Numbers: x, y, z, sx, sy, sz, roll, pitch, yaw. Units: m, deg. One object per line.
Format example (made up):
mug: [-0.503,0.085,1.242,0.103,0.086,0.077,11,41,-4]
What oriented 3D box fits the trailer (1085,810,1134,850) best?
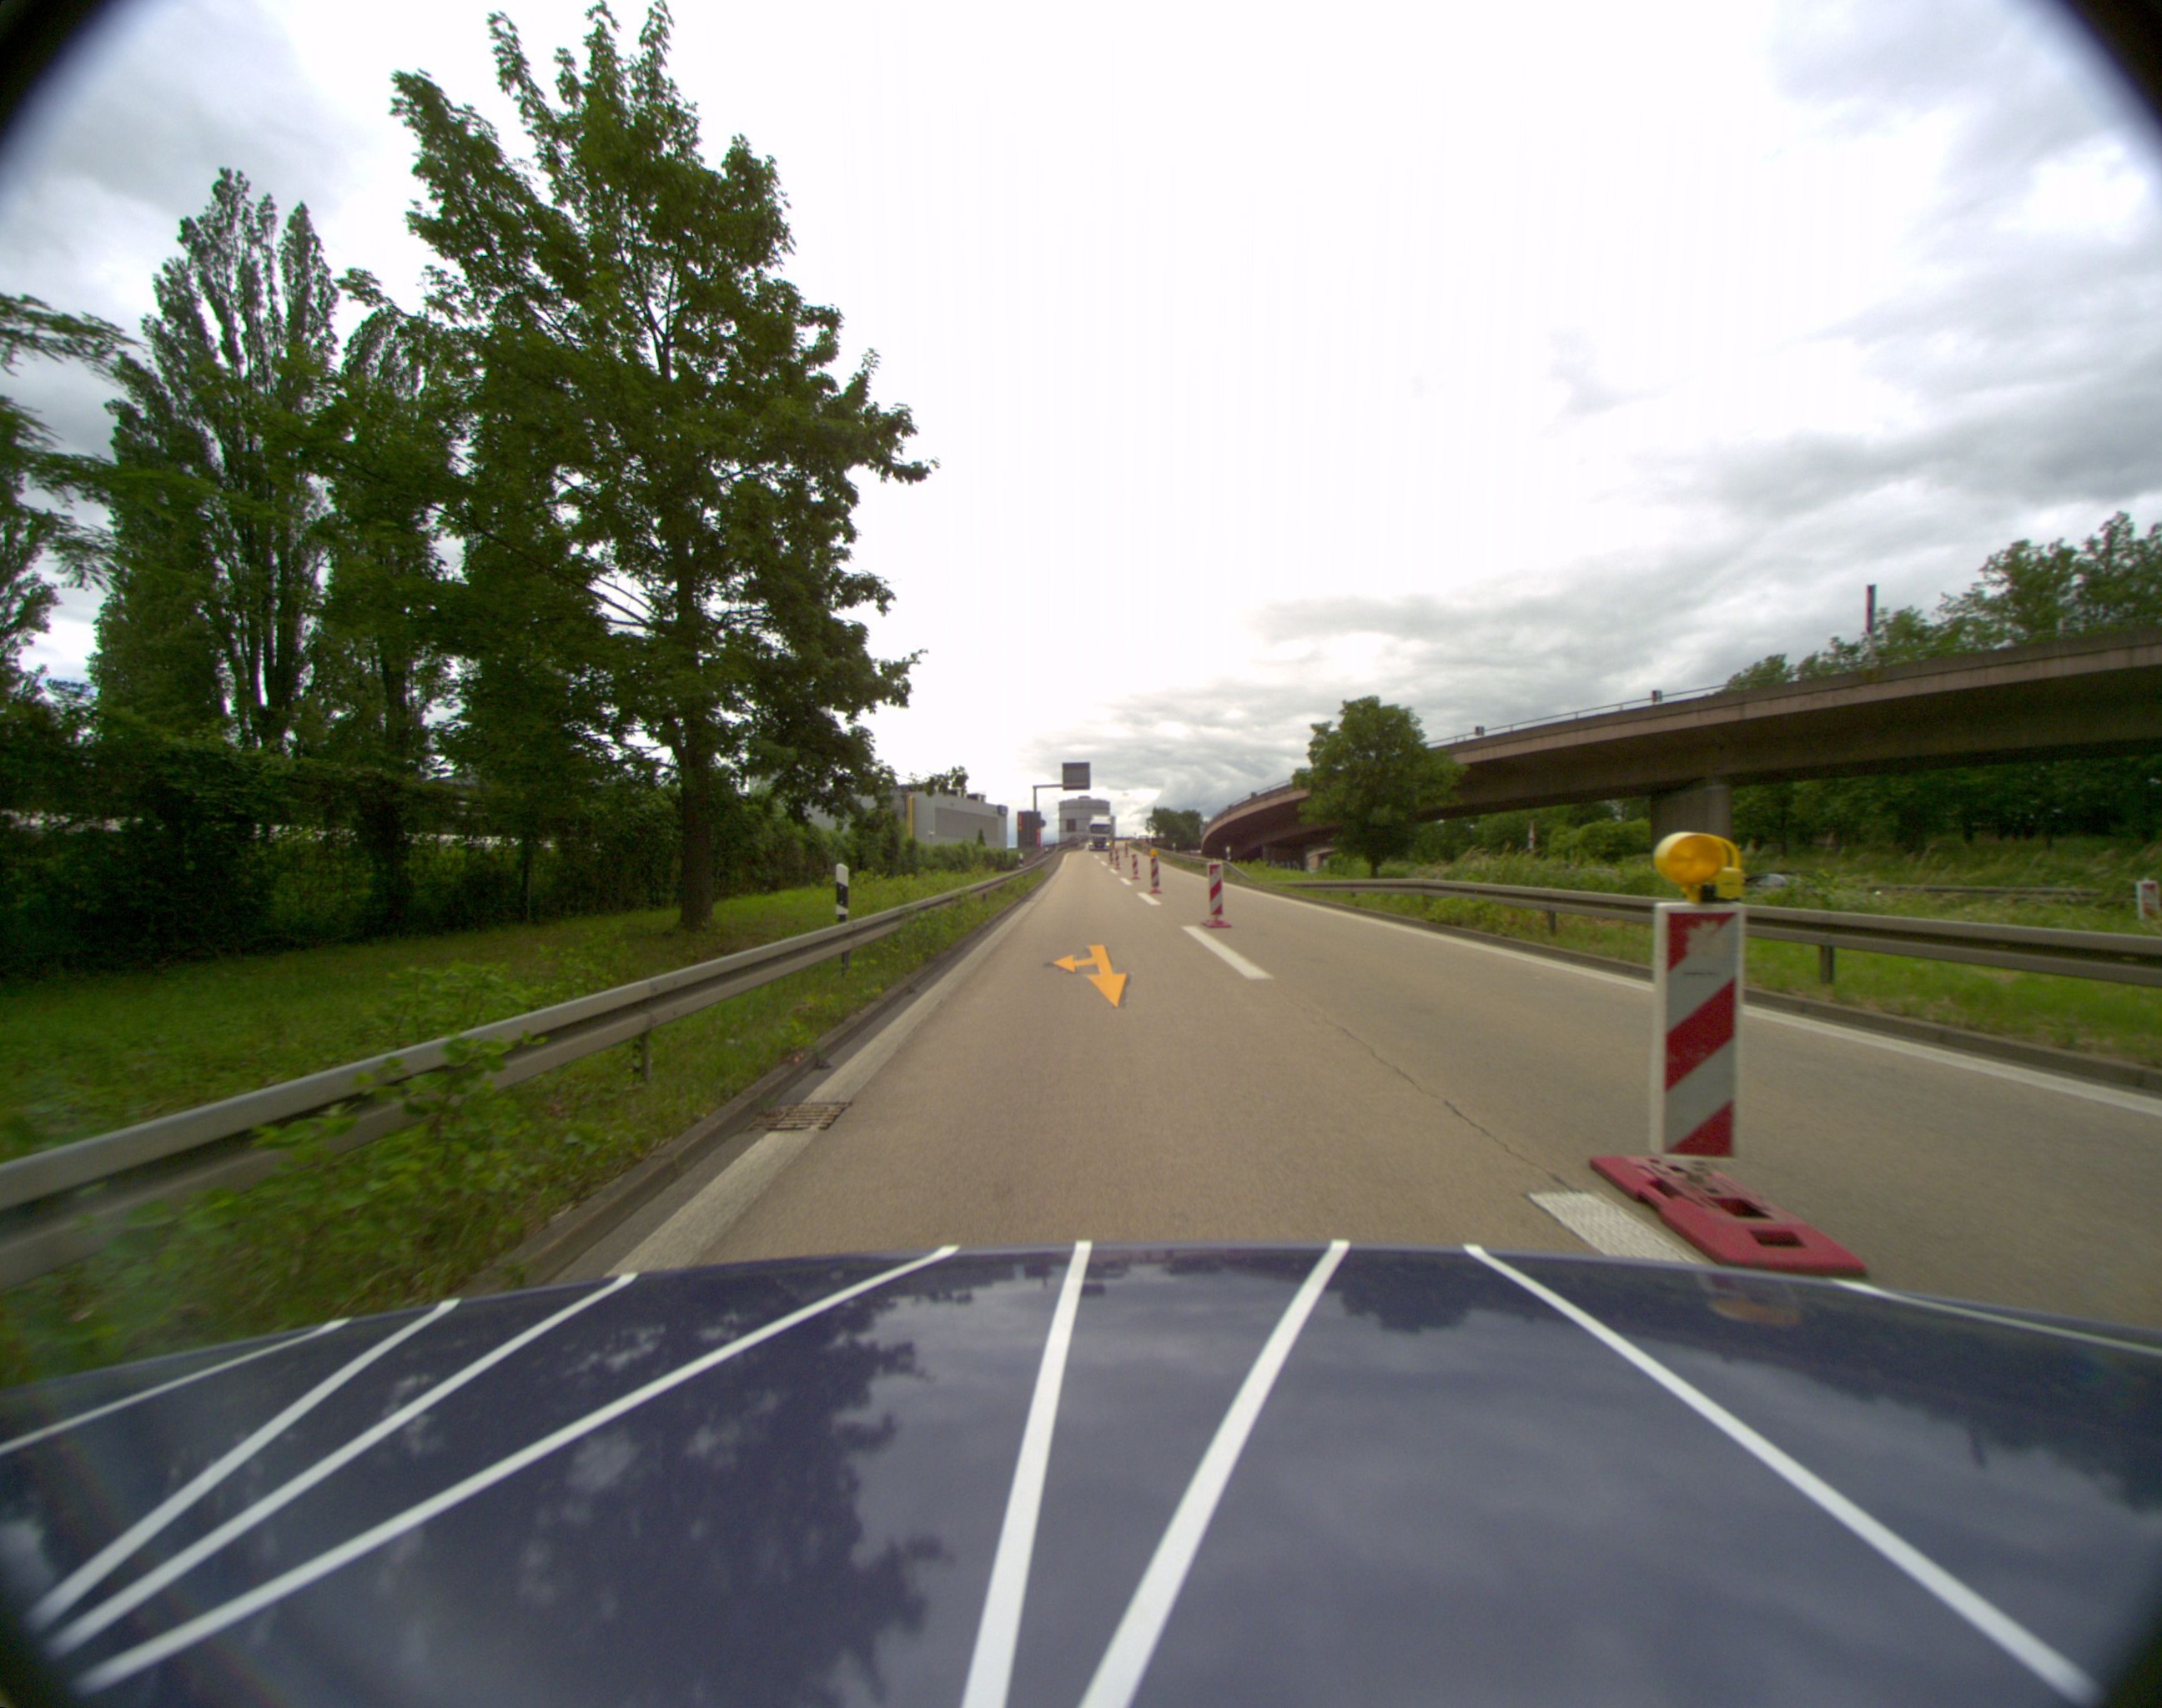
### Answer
trailer: [3.659,-2.714,91.968,4.122,4.219,13.903,-1,-1,10]

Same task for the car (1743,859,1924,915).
car: [24.089,0.997,24.601,2.041,1.605,4.298,-1,-1,10]

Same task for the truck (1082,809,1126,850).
truck: [2.647,-2.698,85.573,4.161,4.278,5.970,-1,0,9]
